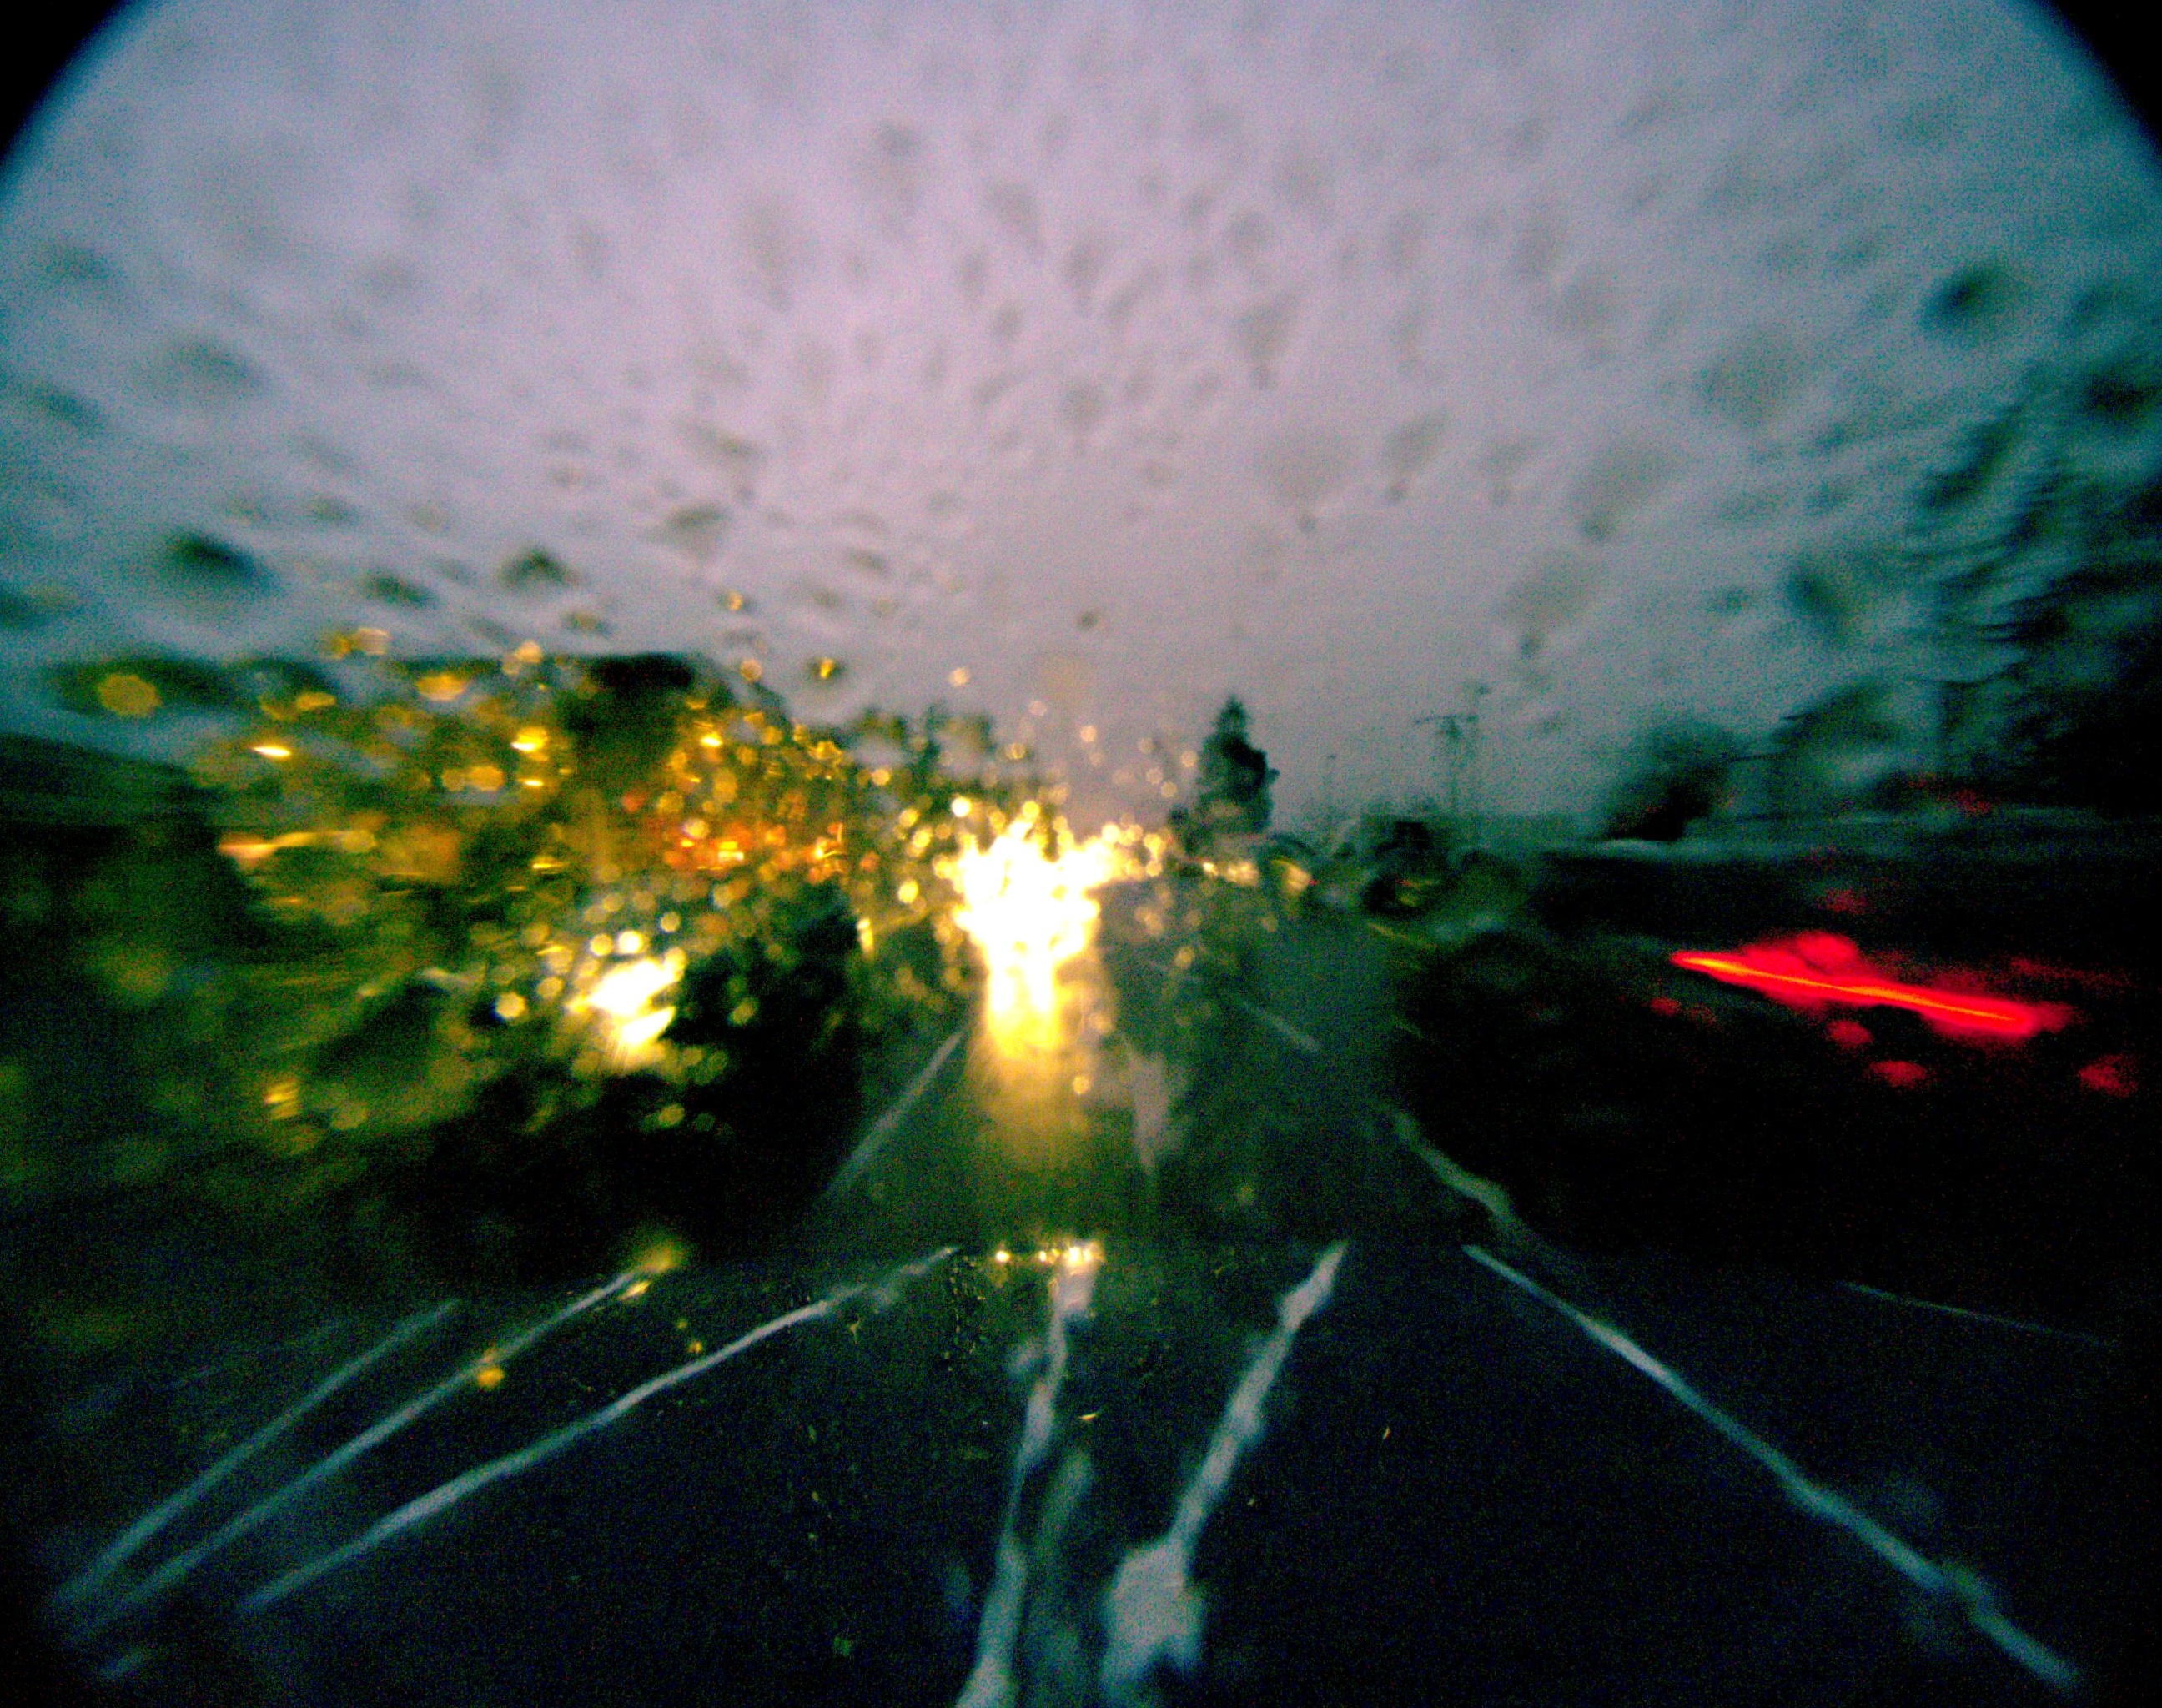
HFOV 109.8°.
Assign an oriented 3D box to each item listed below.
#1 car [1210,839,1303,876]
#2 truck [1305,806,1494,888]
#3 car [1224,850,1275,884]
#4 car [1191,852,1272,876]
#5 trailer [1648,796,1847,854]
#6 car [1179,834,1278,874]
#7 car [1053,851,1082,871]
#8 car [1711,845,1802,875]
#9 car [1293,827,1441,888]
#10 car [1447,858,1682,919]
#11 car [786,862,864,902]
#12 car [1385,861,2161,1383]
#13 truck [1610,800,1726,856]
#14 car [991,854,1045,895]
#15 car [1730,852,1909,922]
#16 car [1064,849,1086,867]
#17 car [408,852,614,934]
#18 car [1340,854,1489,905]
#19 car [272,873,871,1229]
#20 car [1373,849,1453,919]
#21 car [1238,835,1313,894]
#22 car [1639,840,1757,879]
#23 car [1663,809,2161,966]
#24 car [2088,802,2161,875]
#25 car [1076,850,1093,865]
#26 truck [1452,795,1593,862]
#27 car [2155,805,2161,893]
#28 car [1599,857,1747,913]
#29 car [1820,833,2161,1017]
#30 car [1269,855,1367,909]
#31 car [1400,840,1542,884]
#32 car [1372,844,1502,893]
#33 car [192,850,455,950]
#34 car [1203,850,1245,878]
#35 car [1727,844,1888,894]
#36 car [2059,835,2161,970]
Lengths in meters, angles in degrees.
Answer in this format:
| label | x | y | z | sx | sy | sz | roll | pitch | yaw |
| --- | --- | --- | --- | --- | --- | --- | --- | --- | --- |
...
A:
| label | x | y | z | sx | sy | sz | roll | pitch | yaw |
| --- | --- | --- | --- | --- | --- | --- | --- | --- | --- |
| car | 10.474 | 0.196 | 45.676 | 5.158 | 2.138 | 2.058 | 0 | 0 | 1 |
| truck | 13.167 | -0.283 | 31.771 | 6.876 | 3.124 | 2.334 | -1 | 1 | 0 |
| car | 7.552 | 0.551 | 34.384 | 1.653 | 1.404 | 3.841 | -1 | 0 | 3 |
| car | 9.480 | 0.596 | 48.086 | 4.760 | 1.474 | 1.955 | 0 | 0 | 1 |
| trailer | 35.630 | -1.540 | 40.613 | 10.510 | 2.658 | 2.217 | -2 | 1 | -13 |
| car | 9.751 | 0.013 | 50.560 | 6.171 | 2.617 | 2.176 | 0 | 0 | 1 |
| car | -1.062 | 0.505 | 58.147 | 2.016 | 1.484 | 3.998 | -1 | 0 | -3 |
| car | 29.247 | 0.258 | 32.933 | 2.808 | 1.193 | 1.344 | -2 | 1 | -2 |
| car | 13.253 | 0.155 | 35.479 | 6.047 | 2.623 | 2.195 | -1 | 0 | -1 |
| car | 11.952 | 0.818 | 18.997 | 4.767 | 1.429 | 1.783 | 0 | 1 | -1 |
| car | -9.904 | 1.031 | 29.755 | 1.576 | 1.388 | 4.168 | 0 | 0 | 1 |
| car | 3.316 | 0.847 | 4.321 | 1.607 | 1.525 | 4.000 | 0 | 1 | 1 |
| truck | 30.424 | -1.323 | 39.412 | 4.726 | 2.681 | 2.232 | -2 | 1 | -13 |
| car | -2.515 | 0.800 | 31.118 | 2.016 | 1.484 | 3.998 | -2 | 0 | -3 |
| car | 17.108 | 0.727 | 17.645 | 3.168 | 1.539 | 1.349 | 0 | 0 | -9 |
| car | -0.571 | 0.374 | 71.799 | 1.889 | 1.618 | 4.000 | -2 | 0 | 2 |
| car | -14.402 | 0.895 | 19.586 | 1.998 | 1.848 | 4.298 | 0 | 1 | 1 |
| car | 10.482 | 0.771 | 24.088 | 3.919 | 1.469 | 1.810 | 1 | 1 | 1 |
| car | -2.978 | 0.994 | 5.611 | 1.569 | 1.520 | 4.006 | -2 | 1 | 2 |
| car | 8.265 | 0.697 | 19.109 | 1.174 | 1.635 | 2.872 | 0 | 0 | 10 |
| car | 7.226 | 0.339 | 28.669 | 1.839 | 2.002 | 4.484 | -1 | 1 | 3 |
| car | 21.775 | 0.193 | 26.965 | 1.411 | 1.324 | 3.166 | 0 | 0 | -7 |
| car | 10.514 | 0.365 | 9.784 | 4.547 | 1.667 | 2.010 | -2 | 1 | -3 |
| car | 34.506 | -0.501 | 22.591 | 1.999 | 2.249 | 5.286 | -1 | 0 | -3 |
| car | 0.357 | 0.376 | 87.877 | 1.890 | 1.618 | 3.999 | -2 | 0 | -1 |
| truck | 31.568 | -1.796 | 54.445 | 8.714 | 4.237 | 3.004 | -3 | 1 | -10 |
| car | 30.040 | -0.202 | 18.771 | 4.244 | 2.268 | 2.265 | -2 | 0 | -6 |
| car | 16.448 | 0.799 | 21.342 | 1.670 | 1.390 | 3.648 | 0 | 1 | 8 |
| car | 10.322 | 0.571 | 7.308 | 4.345 | 1.489 | 1.995 | -2 | 1 | 4 |
| car | 7.033 | 0.783 | 22.961 | 1.574 | 1.314 | 4.254 | 0 | 2 | -1 |
| car | 13.615 | 0.274 | 26.674 | 4.060 | 1.369 | 1.814 | -2 | 1 | -2 |
| car | 13.665 | 0.530 | 29.335 | 4.060 | 1.723 | 2.024 | -2 | 1 | -2 |
| car | -17.281 | 0.941 | 17.688 | 1.998 | 2.002 | 4.000 | -2 | 1 | 1 |
| car | 7.593 | 0.549 | 40.603 | 1.655 | 1.411 | 3.743 | -1 | -1 | 2 |
| car | 20.706 | 0.421 | 21.826 | 1.411 | 1.324 | 3.166 | 0 | 0 | -7 |
| car | 14.302 | 0.597 | 8.600 | 1.673 | 1.667 | 3.706 | -1 | 0 | -1 |
